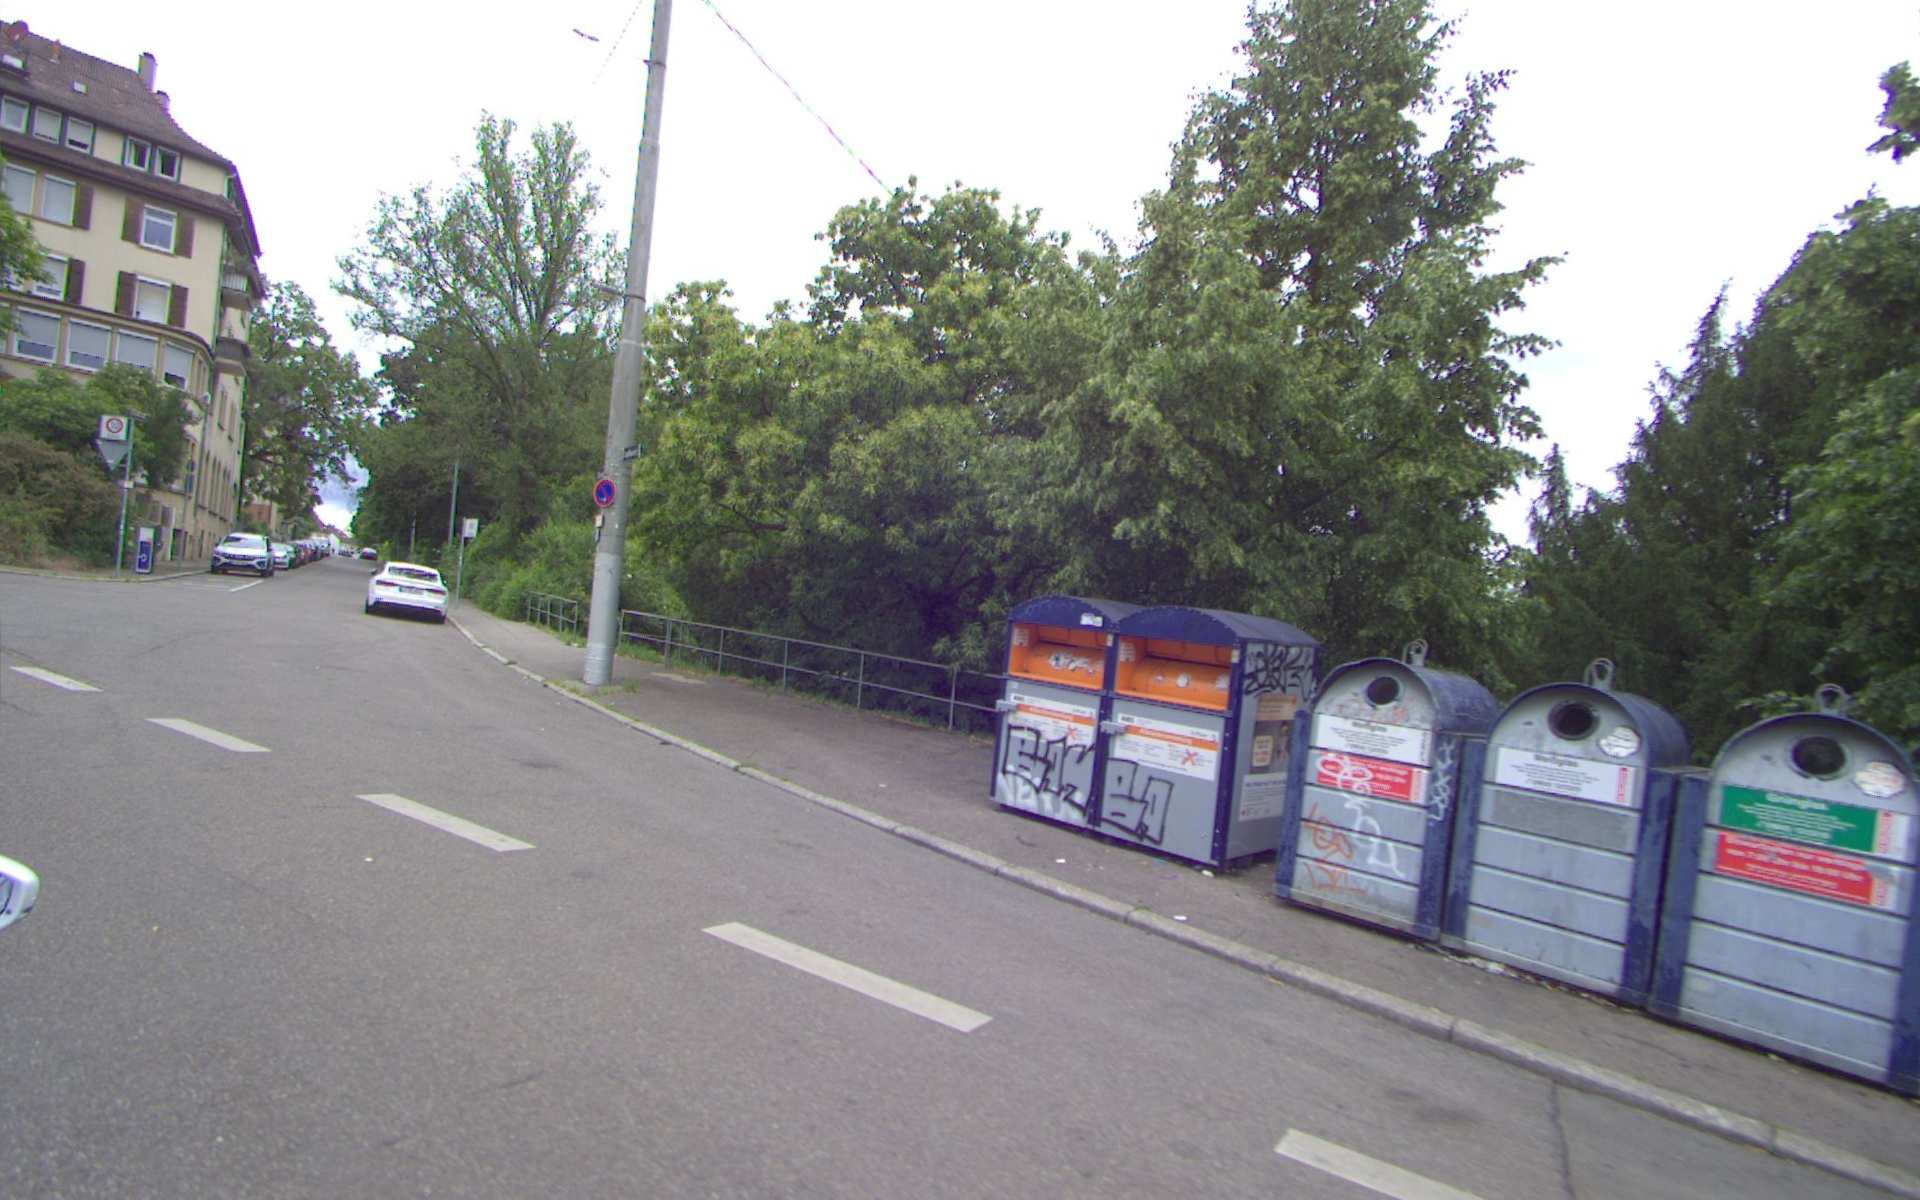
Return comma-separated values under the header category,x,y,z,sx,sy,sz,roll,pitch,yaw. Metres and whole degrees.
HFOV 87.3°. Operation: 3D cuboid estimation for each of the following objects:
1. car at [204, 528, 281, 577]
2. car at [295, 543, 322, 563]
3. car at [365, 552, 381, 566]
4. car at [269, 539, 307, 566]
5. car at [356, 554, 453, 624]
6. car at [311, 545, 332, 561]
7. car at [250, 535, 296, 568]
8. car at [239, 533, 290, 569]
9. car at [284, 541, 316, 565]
category,x,y,z,sx,sy,sz,roll,pitch,yaw
car,-27.720,-1.817,39.003,1.826,1.552,4.472,7,-1,-29
car,-58.107,-4.174,89.730,1.730,1.560,3.759,5,-1,-30
car,-77.964,-5.451,133.646,1.730,1.560,3.759,5,-1,-30
car,-43.594,-3.068,65.315,1.730,1.560,3.759,5,-1,-30
car,-14.873,-0.341,26.806,1.883,1.396,4.562,11,-3,-31
car,-69.135,-5.068,108.970,1.730,1.560,3.759,5,-1,-30
car,-38.019,-2.657,55.777,1.730,1.560,3.759,5,-1,-30
car,-35.820,-2.504,51.878,1.730,1.560,3.759,5,-1,-30
car,-50.328,-3.579,76.772,1.730,1.560,3.759,5,-1,-30
